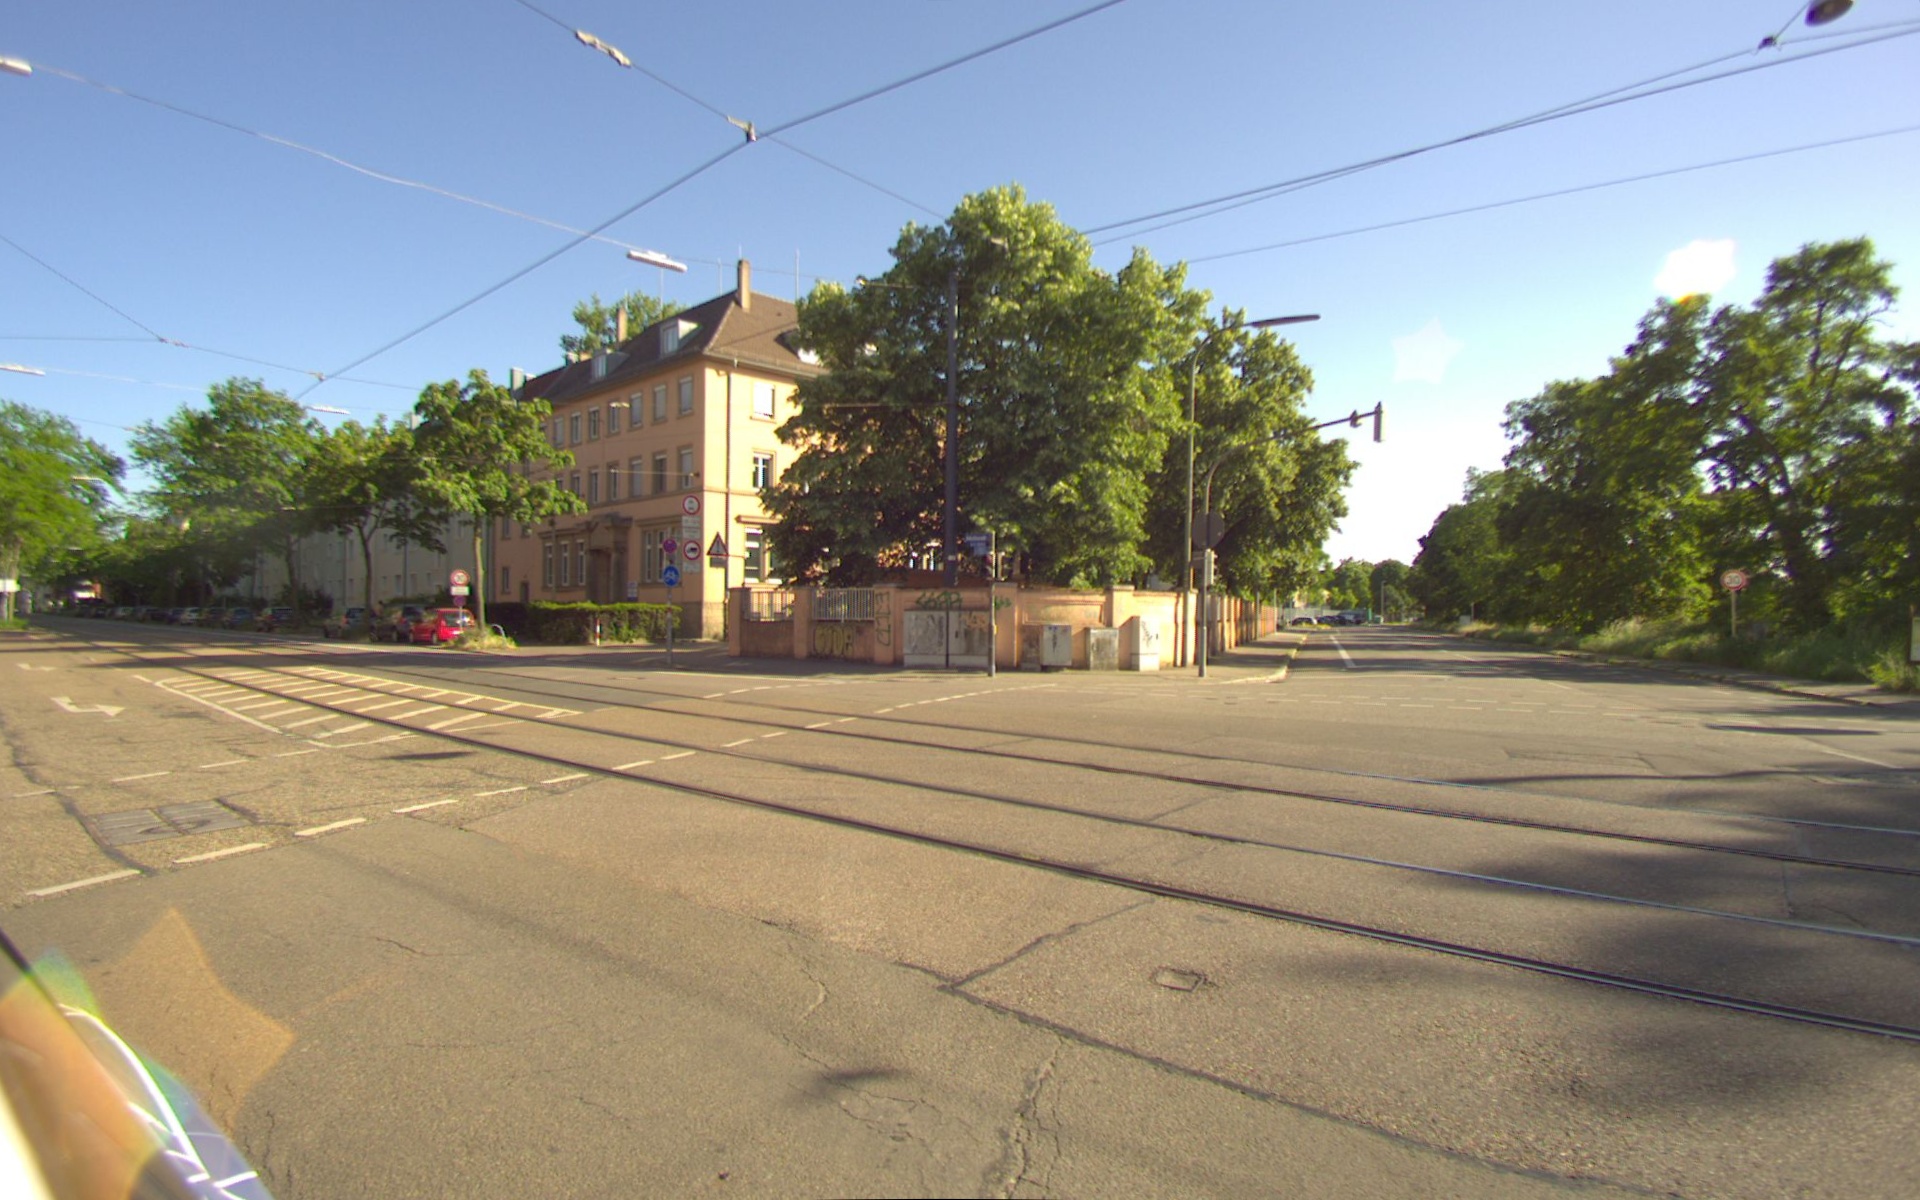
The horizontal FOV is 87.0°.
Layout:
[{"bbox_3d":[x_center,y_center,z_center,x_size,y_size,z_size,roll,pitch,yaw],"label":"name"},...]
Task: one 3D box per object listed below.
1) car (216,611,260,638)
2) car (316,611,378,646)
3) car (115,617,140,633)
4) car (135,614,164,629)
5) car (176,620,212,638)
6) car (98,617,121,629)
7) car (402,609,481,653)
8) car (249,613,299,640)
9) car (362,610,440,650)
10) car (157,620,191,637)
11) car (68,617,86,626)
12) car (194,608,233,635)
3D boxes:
[{"bbox_3d":[-50.627,1.716,70.974,3.796,1.839,1.791,-1,-2,43],"label":"car"},{"bbox_3d":[-30.813,1.427,50.858,1.790,1.671,3.879,1,-2,-45],"label":"car"},{"bbox_3d":[-98.100,2.931,119.229,3.631,1.792,1.791,-1,-2,43],"label":"car"},{"bbox_3d":[-81.859,2.166,102.167,3.631,1.430,1.791,-1,-2,43],"label":"car"},{"bbox_3d":[-63.579,2.379,83.980,3.631,1.430,1.791,-1,-2,43],"label":"car"},{"bbox_3d":[-106.762,2.904,127.027,3.631,1.535,1.791,-1,-2,43],"label":"car"},{"bbox_3d":[-21.269,1.242,41.493,3.373,1.719,1.792,-1,-2,41],"label":"car"},{"bbox_3d":[-42.272,1.635,62.382,3.631,1.611,1.791,-1,-2,43],"label":"car"},{"bbox_3d":[-24.638,1.302,44.568,3.818,1.671,1.792,-1,-2,41],"label":"car"},{"bbox_3d":[-70.025,2.518,90.160,3.631,1.430,1.791,-1,-2,43],"label":"car"},{"bbox_3d":[-138.269,3.358,158.468,3.631,1.430,1.791,-1,-2,43],"label":"car"},{"bbox_3d":[-56.999,1.641,77.247,3.631,1.955,1.791,-1,-2,43],"label":"car"}]
